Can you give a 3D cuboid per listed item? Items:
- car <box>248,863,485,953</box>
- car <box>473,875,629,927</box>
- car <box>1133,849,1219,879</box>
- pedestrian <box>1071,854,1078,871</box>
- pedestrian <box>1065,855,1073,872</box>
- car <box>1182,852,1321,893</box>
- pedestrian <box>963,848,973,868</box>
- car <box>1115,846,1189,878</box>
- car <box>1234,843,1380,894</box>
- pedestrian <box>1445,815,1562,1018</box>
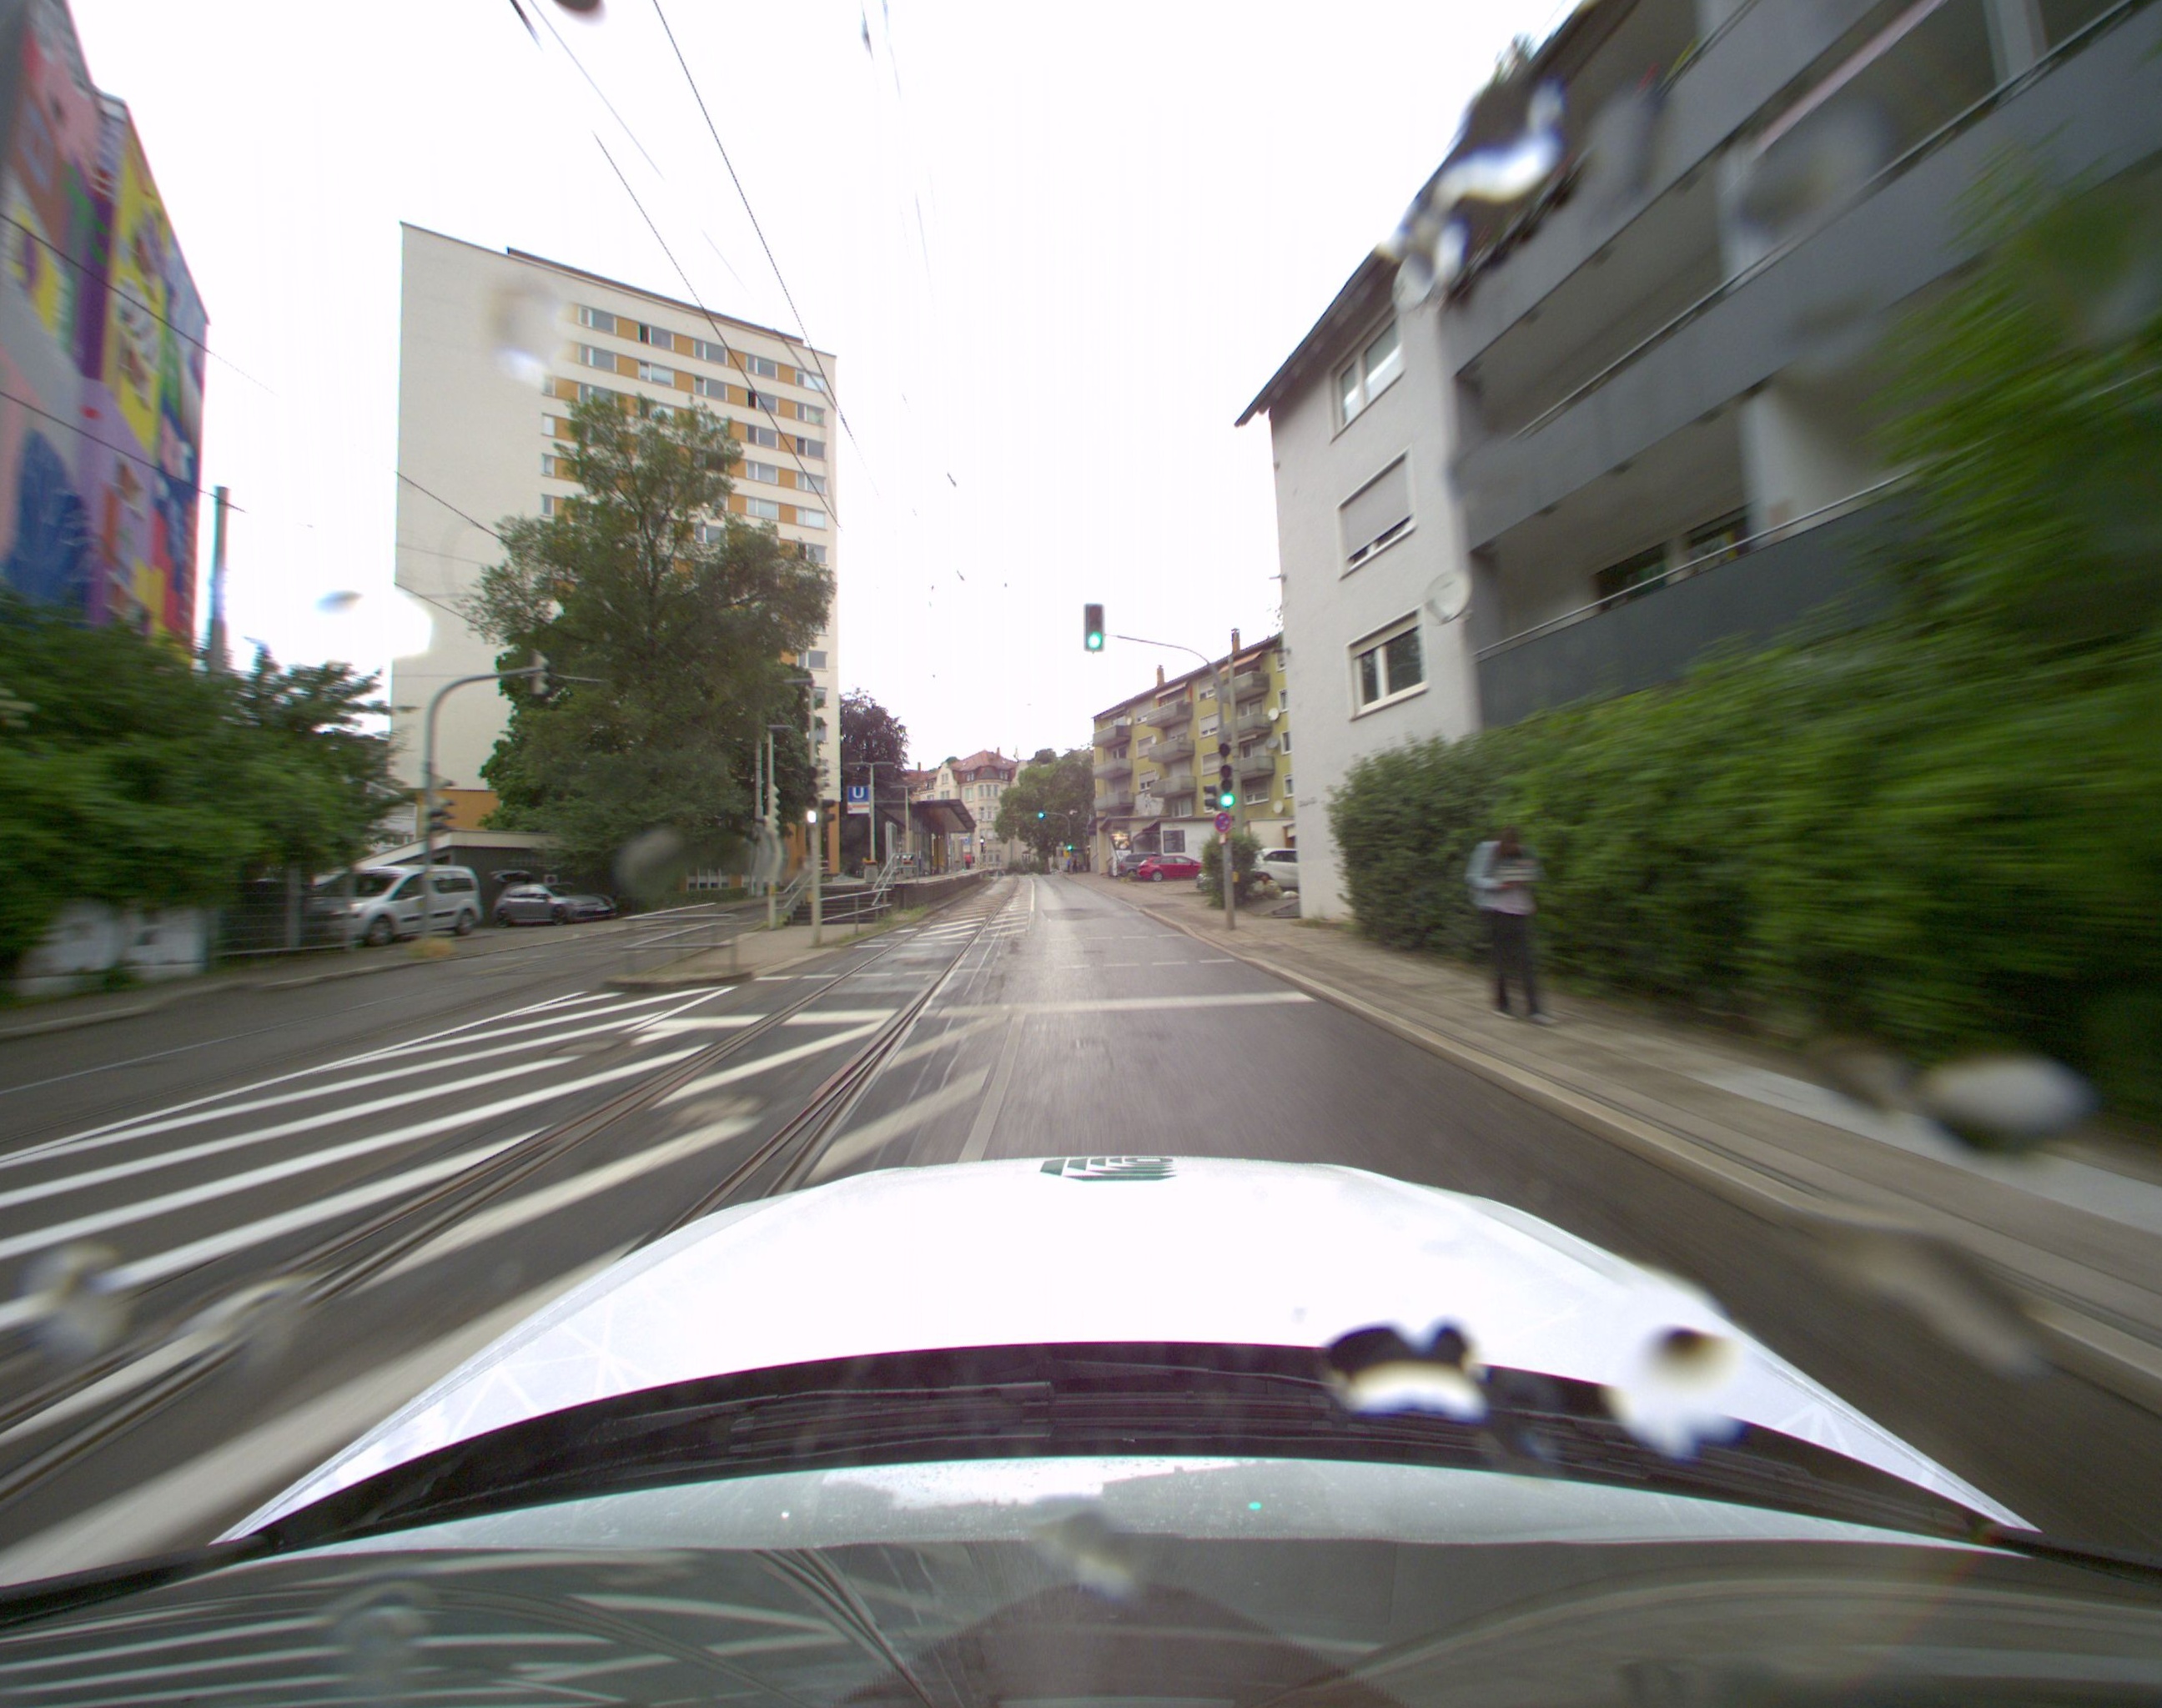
[{"bbox_3d":[-16.100,1.112,18.730,1.744,1.717,4.433,-2,0,-5],"label":"car"},{"bbox_3d":[-18.074,1.596,27.813,4.444,1.542,1.953,-2,0,16],"label":"car"},{"bbox_3d":[5.423,0.580,46.723,4.561,1.437,1.762,-3,-1,-5],"label":"car"},{"bbox_3d":[-0.632,0.803,77.331,0.545,1.554,0.557,-4,0,-7],"label":"pedestrian"},{"bbox_3d":[-1.113,0.844,76.457,0.587,1.554,0.649,-4,0,-5],"label":"pedestrian"},{"bbox_3d":[6.502,0.683,31.391,4.921,1.436,1.972,0,2,-4],"label":"car"},{"bbox_3d":[-8.949,0.317,64.398,0.670,1.548,0.770,-2,0,-5],"label":"pedestrian"},{"bbox_3d":[4.362,0.485,50.334,4.317,1.674,1.779,-3,-1,-2],"label":"car"},{"bbox_3d":[6.965,0.428,25.254,3.986,1.467,1.811,0,-1,-9],"label":"car"},{"bbox_3d":[3.530,0.505,6.855,0.654,1.620,0.630,0,-1,1],"label":"pedestrian"}]
